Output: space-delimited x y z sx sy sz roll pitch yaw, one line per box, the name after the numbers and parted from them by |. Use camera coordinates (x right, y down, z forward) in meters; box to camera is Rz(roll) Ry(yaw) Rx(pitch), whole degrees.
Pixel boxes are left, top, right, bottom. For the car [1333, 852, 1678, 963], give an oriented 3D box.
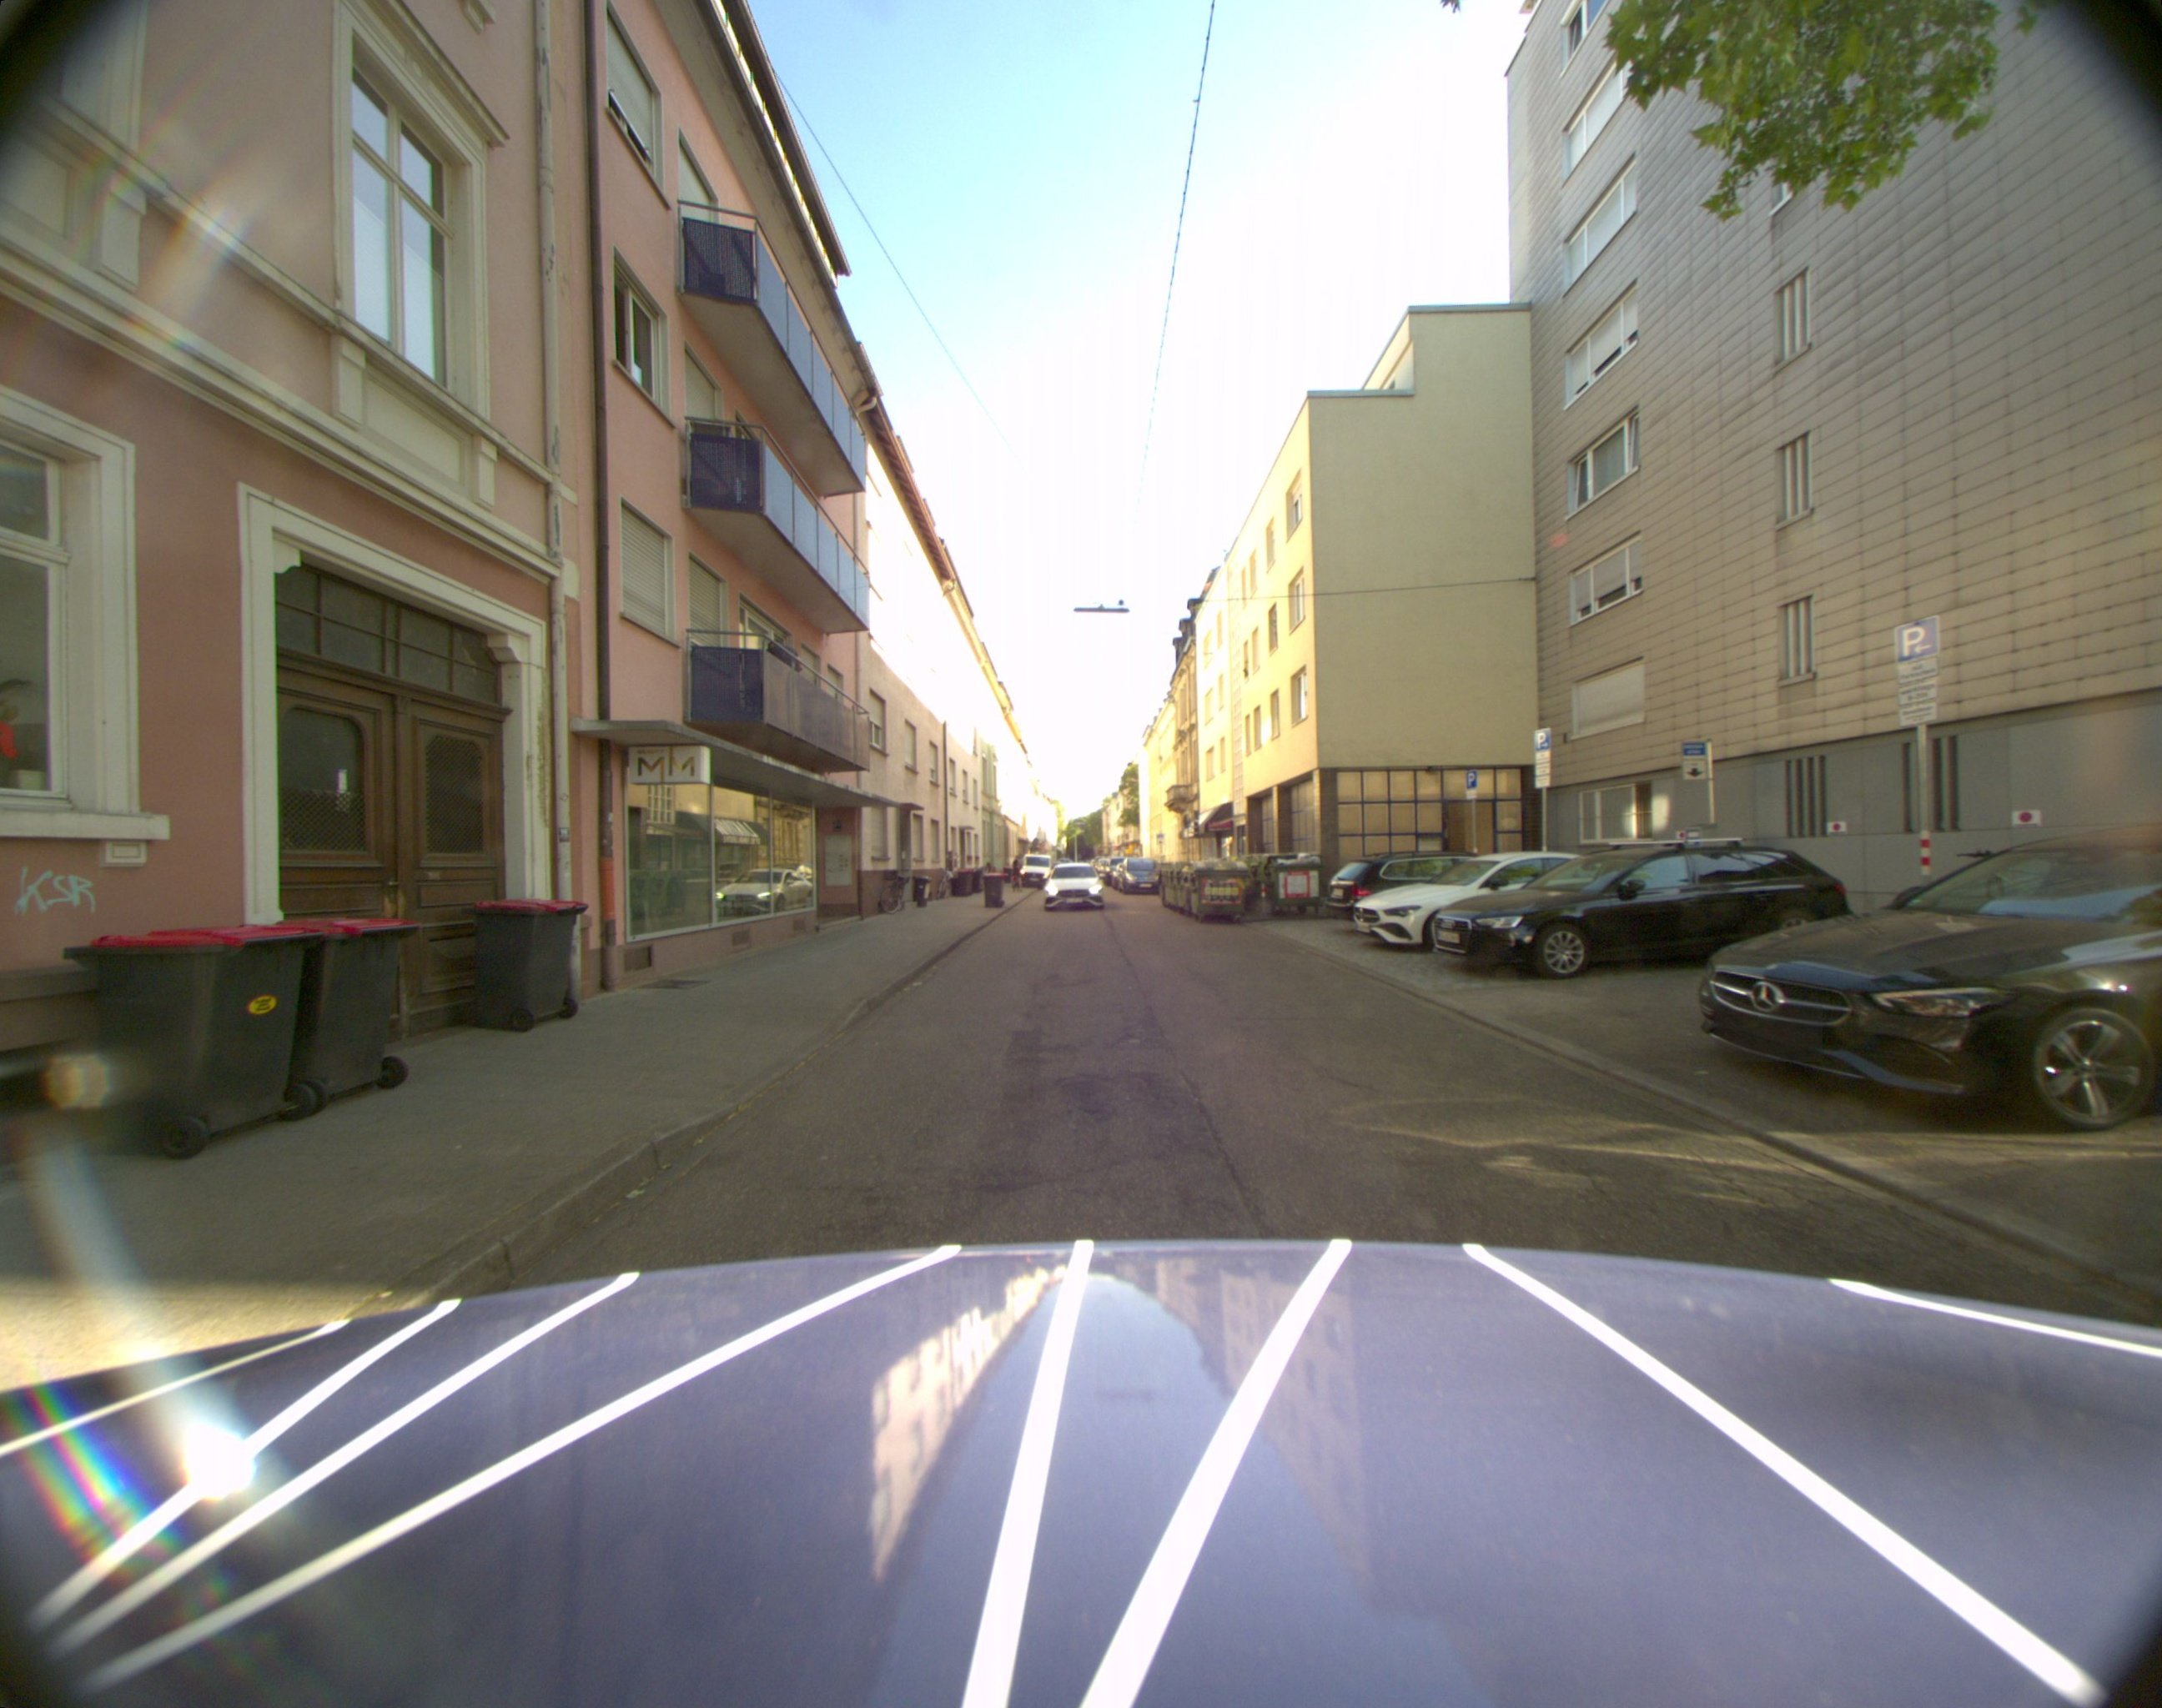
6.521 0.774 12.042 4.353 1.417 1.957 -3 1 -1 | car

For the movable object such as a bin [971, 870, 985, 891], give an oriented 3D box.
-4.761 1.231 35.121 0.578 0.919 0.607 1 0 0 | movable object such as a bin

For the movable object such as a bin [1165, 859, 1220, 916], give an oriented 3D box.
3.098 0.912 21.172 1.346 1.490 1.018 -2 1 0 | movable object such as a bin

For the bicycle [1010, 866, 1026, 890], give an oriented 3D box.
-3.066 1.167 37.119 0.665 1.130 1.988 2 -1 -2 | bicycle

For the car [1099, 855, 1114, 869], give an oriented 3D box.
3.415 1.123 103.412 1.771 1.887 4.808 1 0 -1 | car

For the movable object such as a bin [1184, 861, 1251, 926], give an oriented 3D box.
3.195 0.902 17.913 1.304 1.442 1.117 -2 1 -4 | movable object such as a bin

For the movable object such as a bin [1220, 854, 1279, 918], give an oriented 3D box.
4.449 0.820 20.117 1.292 1.595 1.082 -2 1 0 | movable object such as a bin

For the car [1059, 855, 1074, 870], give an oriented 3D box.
-2.053 1.172 107.880 1.975 2.017 4.899 -2 0 -1 | car

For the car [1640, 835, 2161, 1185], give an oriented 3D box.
6.378 0.698 4.565 4.511 1.462 1.929 -4 0 1 | car

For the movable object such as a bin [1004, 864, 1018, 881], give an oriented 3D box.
-4.649 1.212 50.314 0.799 1.089 0.642 -1 1 2 | movable object such as a bin

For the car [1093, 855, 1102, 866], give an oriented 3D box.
3.437 1.343 158.677 1.913 2.076 4.696 -1 0 0 | car

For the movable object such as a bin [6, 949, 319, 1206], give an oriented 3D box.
-4.487 1.057 3.766 0.747 1.080 0.634 -1 1 2 | movable object such as a bin

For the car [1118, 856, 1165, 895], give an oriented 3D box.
2.692 0.921 34.664 1.787 1.657 4.670 0 0 0 | car

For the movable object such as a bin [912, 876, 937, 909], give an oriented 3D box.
-4.707 1.149 22.894 0.599 0.946 0.682 -1 1 1 | movable object such as a bin

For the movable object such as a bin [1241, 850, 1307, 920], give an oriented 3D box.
4.774 0.748 18.847 1.231 1.643 1.173 -2 1 -6 | movable object such as a bin

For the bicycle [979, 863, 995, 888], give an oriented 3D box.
-4.794 1.094 38.813 0.406 1.199 2.160 -1 1 3 | bicycle

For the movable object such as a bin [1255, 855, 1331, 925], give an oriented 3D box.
4.916 0.804 17.689 1.357 1.540 1.120 -2 1 -6 | movable object such as a bin

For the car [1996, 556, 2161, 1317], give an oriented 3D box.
6.925 0.071 1.759 6.755 2.540 2.146 -4 1 2 | car

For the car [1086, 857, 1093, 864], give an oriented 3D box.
2.357 1.743 208.016 1.786 1.674 4.021 -1 1 0 | car

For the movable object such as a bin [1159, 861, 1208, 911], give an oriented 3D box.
3.109 0.970 23.253 1.337 1.476 1.093 0 1 0 | movable object such as a bin

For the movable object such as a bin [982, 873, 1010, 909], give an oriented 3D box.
-2.677 1.142 23.863 0.770 1.080 0.693 -1 1 1 | movable object such as a bin

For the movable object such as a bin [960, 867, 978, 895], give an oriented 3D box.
-4.674 1.127 31.723 0.629 1.116 0.569 -1 1 1 | movable object such as a bin

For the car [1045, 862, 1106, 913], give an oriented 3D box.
-0.156 1.014 24.312 1.761 1.399 4.021 -1 1 0 | car

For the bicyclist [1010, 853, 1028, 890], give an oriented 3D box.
-3.031 0.843 37.190 0.762 1.760 0.822 1 -1 -2 | bicyclist

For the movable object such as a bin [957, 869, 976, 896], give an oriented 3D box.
-4.687 1.157 31.162 0.658 1.098 0.593 -1 0 1 | movable object such as a bin

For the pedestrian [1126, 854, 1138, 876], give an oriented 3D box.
4.285 0.941 63.848 0.913 1.822 1.245 -1 1 0 | pedestrian

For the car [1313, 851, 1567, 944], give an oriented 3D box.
6.584 0.759 14.257 3.885 1.496 1.826 -2 1 -1 | car

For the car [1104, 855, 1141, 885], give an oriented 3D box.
2.460 0.906 45.844 1.941 1.726 5.142 0 0 0 | car

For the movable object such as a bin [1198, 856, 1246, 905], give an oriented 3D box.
4.516 0.831 24.419 1.300 1.489 1.178 -2 1 0 | movable object such as a bin

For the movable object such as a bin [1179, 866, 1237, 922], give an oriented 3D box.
3.166 0.985 19.013 1.244 1.314 1.045 -2 1 0 | movable object such as a bin

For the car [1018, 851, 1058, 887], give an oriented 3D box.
-2.451 0.856 44.605 1.988 1.872 5.599 3 0 0 | car

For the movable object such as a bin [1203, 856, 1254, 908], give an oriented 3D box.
4.508 0.838 23.261 1.309 1.490 1.157 -2 1 0 | movable object such as a bin

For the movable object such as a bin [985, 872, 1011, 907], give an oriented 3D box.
-2.685 1.142 24.576 0.734 1.074 0.703 -1 1 1 | movable object such as a bin

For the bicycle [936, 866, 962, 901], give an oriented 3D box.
-4.815 1.049 27.772 0.538 1.163 2.076 3 0 0 | bicycle

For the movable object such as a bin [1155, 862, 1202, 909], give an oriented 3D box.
3.112 0.985 24.427 1.323 1.442 1.187 0 1 0 | movable object such as a bin

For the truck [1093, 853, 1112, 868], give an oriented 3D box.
3.414 0.983 120.780 2.171 2.295 6.344 0 0 -6 | truck

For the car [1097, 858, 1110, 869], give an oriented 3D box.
3.165 1.387 109.413 1.669 1.514 4.488 1 -1 -1 | car

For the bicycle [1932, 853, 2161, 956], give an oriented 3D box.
11.994 0.567 9.394 0.611 1.117 2.038 -2 0 0 | bicycle

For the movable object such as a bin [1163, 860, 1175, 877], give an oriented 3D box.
5.994 1.005 51.819 0.721 1.125 0.584 -1 1 -4 | movable object such as a bin

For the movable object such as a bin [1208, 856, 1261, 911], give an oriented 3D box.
4.458 0.848 22.184 1.305 1.514 1.018 -2 1 0 | movable object such as a bin

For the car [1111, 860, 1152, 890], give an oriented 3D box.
2.610 1.068 40.047 1.850 1.409 4.817 0 0 0 | car

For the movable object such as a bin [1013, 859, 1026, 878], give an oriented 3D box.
-4.583 1.089 56.906 0.839 1.382 1.296 1 2 -1 | movable object such as a bin

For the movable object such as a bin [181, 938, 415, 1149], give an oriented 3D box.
-4.487 1.060 4.398 0.703 1.067 0.596 -1 1 2 | movable object such as a bin

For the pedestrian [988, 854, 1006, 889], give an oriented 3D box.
-4.147 0.868 37.427 0.656 1.701 0.687 -1 1 12 | pedestrian

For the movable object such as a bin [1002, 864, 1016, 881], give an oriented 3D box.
-4.673 1.198 49.642 0.814 1.082 0.674 -1 1 2 | movable object such as a bin

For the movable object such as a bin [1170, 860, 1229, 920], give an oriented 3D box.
3.117 0.926 20.104 1.338 1.482 1.082 -2 1 0 | movable object such as a bin

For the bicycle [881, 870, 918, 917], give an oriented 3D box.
-4.795 1.014 20.154 0.454 1.127 1.920 1 0 2 | bicycle

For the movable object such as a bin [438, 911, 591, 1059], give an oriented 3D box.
-4.695 1.061 6.344 0.731 1.097 0.693 -1 1 -2 | movable object such as a bin

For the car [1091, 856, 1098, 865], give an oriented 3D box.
3.132 1.587 178.372 1.585 1.971 4.068 -1 1 0 | car

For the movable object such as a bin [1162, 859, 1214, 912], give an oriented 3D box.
3.116 0.901 22.207 1.352 1.478 1.003 -2 1 0 | movable object such as a bin

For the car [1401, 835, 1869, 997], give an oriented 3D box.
6.673 0.681 9.512 4.478 1.600 1.915 -3 1 -2 | car

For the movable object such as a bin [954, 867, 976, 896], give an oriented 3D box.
-4.673 1.105 30.567 0.740 1.091 0.640 2 1 1 | movable object such as a bin

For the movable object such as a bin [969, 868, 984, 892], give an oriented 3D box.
-4.738 1.161 34.511 0.617 1.056 0.603 1 0 0 | movable object such as a bin

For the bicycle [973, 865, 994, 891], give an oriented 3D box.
-4.661 1.120 36.388 0.570 1.147 1.868 -1 1 5 | bicycle

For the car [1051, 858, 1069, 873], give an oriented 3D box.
-2.289 1.252 82.926 1.805 1.569 4.897 -2 0 0 | car

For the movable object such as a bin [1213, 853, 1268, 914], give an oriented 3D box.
4.431 0.805 21.181 1.297 1.611 1.018 -2 1 0 | movable object such as a bin

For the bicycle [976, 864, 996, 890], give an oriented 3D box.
-4.673 1.103 37.477 0.438 1.199 2.267 -1 1 7 | bicycle
